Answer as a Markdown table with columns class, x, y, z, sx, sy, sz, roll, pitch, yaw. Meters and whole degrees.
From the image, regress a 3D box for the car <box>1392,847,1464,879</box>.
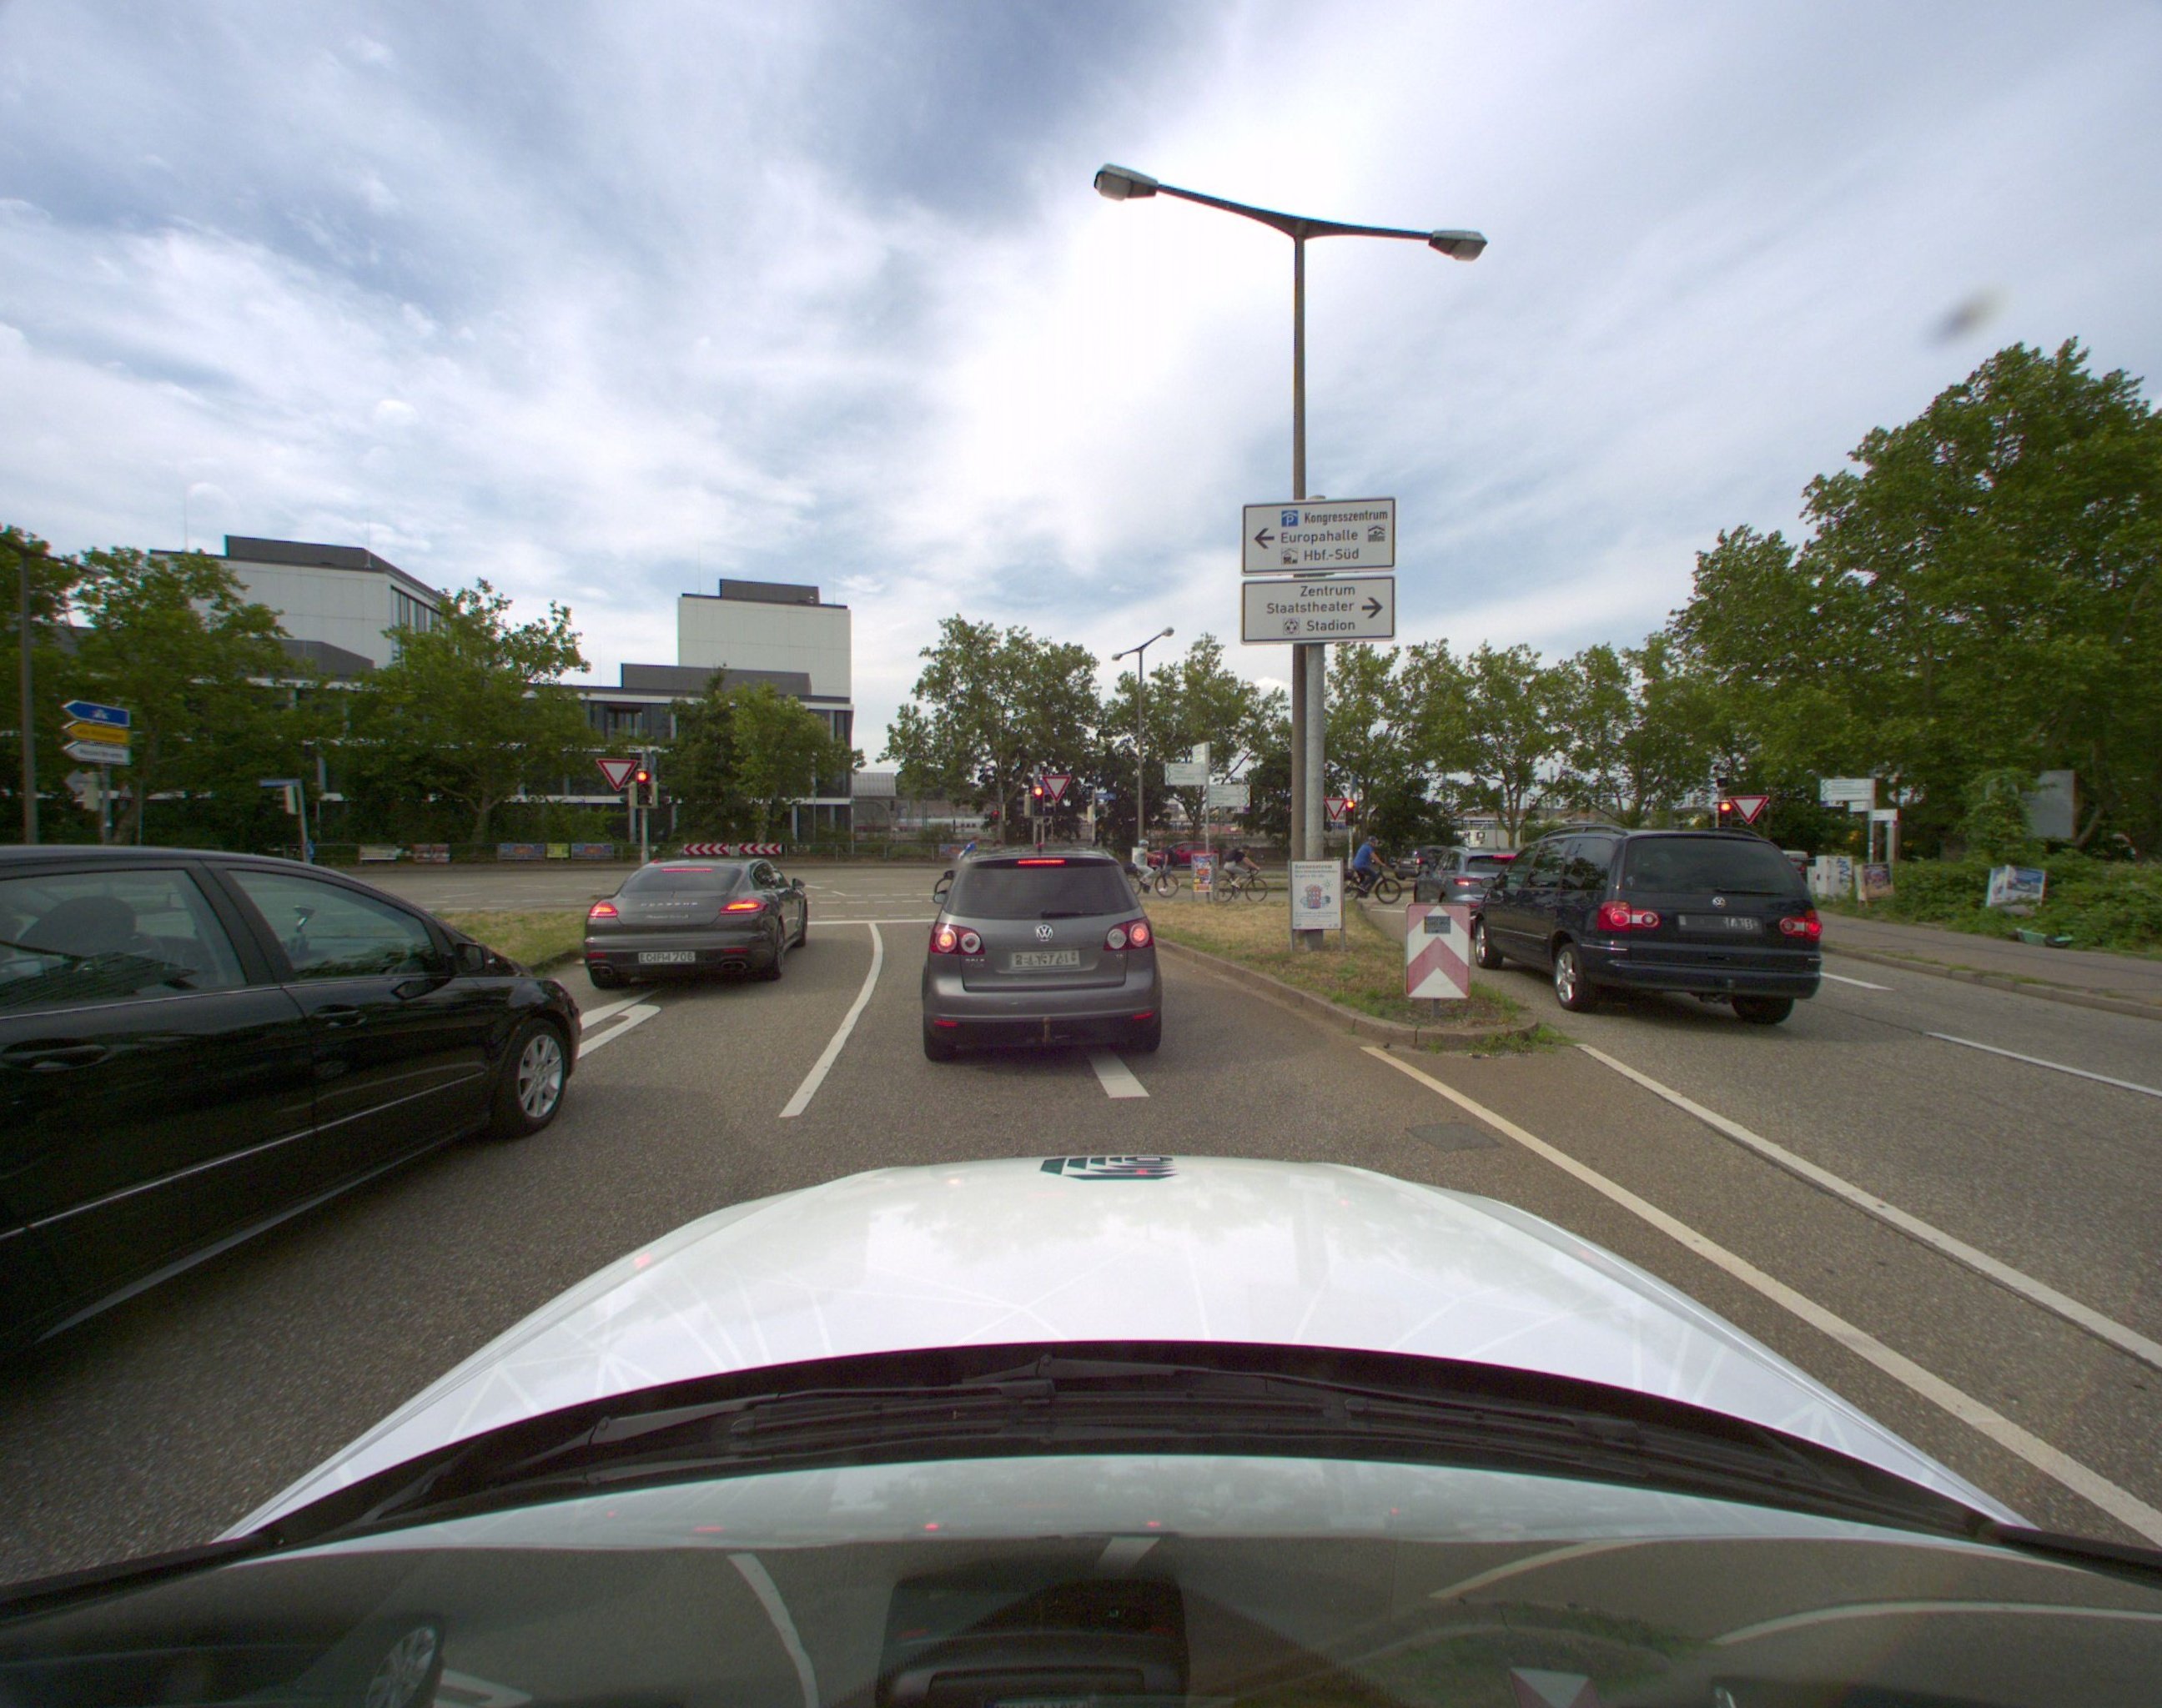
| class | x | y | z | sx | sy | sz | roll | pitch | yaw |
| --- | --- | --- | --- | --- | --- | --- | --- | --- | --- |
| car | 15.693 | 0.381 | 36.897 | 2.719 | 1.422 | 1.490 | -1 | 0 | -19 |

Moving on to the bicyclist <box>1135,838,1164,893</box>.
| class | x | y | z | sx | sy | sz | roll | pitch | yaw |
| --- | --- | --- | --- | --- | --- | --- | --- | --- | --- |
| bicyclist | 2.006 | 0.317 | 23.929 | 0.778 | 1.581 | 0.654 | 0 | 1 | -4 |

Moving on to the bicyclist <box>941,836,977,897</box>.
| class | x | y | z | sx | sy | sz | roll | pitch | yaw |
| --- | --- | --- | --- | --- | --- | --- | --- | --- | --- |
| bicyclist | -3.116 | 0.302 | 20.767 | 0.840 | 1.529 | 0.625 | -1 | 1 | -17 |

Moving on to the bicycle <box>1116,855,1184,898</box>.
| class | x | y | z | sx | sy | sz | roll | pitch | yaw |
| --- | --- | --- | --- | --- | --- | --- | --- | --- | --- |
| bicycle | 2.020 | 0.650 | 23.948 | 1.897 | 1.210 | 0.642 | 0 | 1 | -5 |

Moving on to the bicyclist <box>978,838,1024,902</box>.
| class | x | y | z | sx | sy | sz | roll | pitch | yaw |
| --- | --- | --- | --- | --- | --- | --- | --- | --- | --- |
| bicyclist | -1.952 | 0.374 | 19.808 | 1.018 | 1.539 | 0.625 | -1 | 1 | -15 |

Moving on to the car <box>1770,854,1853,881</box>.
| class | x | y | z | sx | sy | sz | roll | pitch | yaw |
| --- | --- | --- | --- | --- | --- | --- | --- | --- | --- |
| car | 41.308 | 0.753 | 46.071 | 4.067 | 1.450 | 1.693 | -1 | 0 | -17 |

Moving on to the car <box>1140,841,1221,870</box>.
| class | x | y | z | sx | sy | sz | roll | pitch | yaw |
| --- | --- | --- | --- | --- | --- | --- | --- | --- | --- |
| car | 5.288 | 0.070 | 43.246 | 3.963 | 1.448 | 1.692 | -1 | 0 | -19 |

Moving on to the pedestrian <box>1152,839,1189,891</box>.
| class | x | y | z | sx | sy | sz | roll | pitch | yaw |
| --- | --- | --- | --- | --- | --- | --- | --- | --- | --- |
| pedestrian | 3.011 | 0.344 | 27.318 | 1.038 | 1.710 | 0.858 | 1 | 1 | 19 |

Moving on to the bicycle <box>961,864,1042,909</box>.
| class | x | y | z | sx | sy | sz | roll | pitch | yaw |
| --- | --- | --- | --- | --- | --- | --- | --- | --- | --- |
| bicycle | -1.933 | 0.779 | 19.833 | 1.904 | 1.013 | 0.625 | -1 | 1 | -15 |

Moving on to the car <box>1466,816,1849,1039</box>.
| class | x | y | z | sx | sy | sz | roll | pitch | yaw |
| --- | --- | --- | --- | --- | --- | --- | --- | --- | --- |
| car | 5.579 | 0.574 | 8.607 | 1.739 | 1.724 | 4.151 | 2 | 0 | 11 |

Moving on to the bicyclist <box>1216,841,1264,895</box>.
| class | x | y | z | sx | sy | sz | roll | pitch | yaw |
| --- | --- | --- | --- | --- | --- | --- | --- | --- | --- |
| bicyclist | 4.342 | 0.371 | 22.300 | 1.115 | 1.436 | 0.645 | -1 | 1 | -15 |

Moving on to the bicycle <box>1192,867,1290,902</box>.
| class | x | y | z | sx | sy | sz | roll | pitch | yaw |
| --- | --- | --- | --- | --- | --- | --- | --- | --- | --- |
| bicycle | 4.388 | 0.817 | 22.307 | 2.587 | 0.890 | 0.701 | -1 | 1 | -15 |

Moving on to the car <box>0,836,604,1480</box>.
| class | x | y | z | sx | sy | sz | roll | pitch | yaw |
| --- | --- | --- | --- | --- | --- | --- | --- | --- | --- |
| car | -3.647 | 0.730 | 2.970 | 1.755 | 1.575 | 4.028 | 0 | 1 | -6 |

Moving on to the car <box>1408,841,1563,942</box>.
| class | x | y | z | sx | sy | sz | roll | pitch | yaw |
| --- | --- | --- | --- | --- | --- | --- | --- | --- | --- |
| car | 7.395 | 0.610 | 15.305 | 1.679 | 1.585 | 4.171 | 2 | 0 | 13 |

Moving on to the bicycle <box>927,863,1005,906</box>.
| class | x | y | z | sx | sy | sz | roll | pitch | yaw |
| --- | --- | --- | --- | --- | --- | --- | --- | --- | --- |
| bicycle | -2.944 | 0.760 | 20.811 | 1.906 | 1.013 | 0.625 | -1 | 1 | -17 |

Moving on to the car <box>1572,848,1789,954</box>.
| class | x | y | z | sx | sy | sz | roll | pitch | yaw |
| --- | --- | --- | --- | --- | --- | --- | --- | --- | --- |
| car | 10.882 | 0.746 | 15.181 | 1.738 | 1.643 | 4.152 | 2 | 0 | 13 |

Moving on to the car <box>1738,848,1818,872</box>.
| class | x | y | z | sx | sy | sz | roll | pitch | yaw |
| --- | --- | --- | --- | --- | --- | --- | --- | --- | --- |
| car | 44.543 | 0.369 | 52.039 | 4.336 | 1.448 | 1.752 | -1 | 0 | -15 |

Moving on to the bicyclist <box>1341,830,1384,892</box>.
| class | x | y | z | sx | sy | sz | roll | pitch | yaw |
| --- | --- | --- | --- | --- | --- | --- | --- | --- | --- |
| bicyclist | 7.807 | 0.186 | 22.621 | 0.879 | 1.656 | 0.811 | -1 | 0 | -3 |

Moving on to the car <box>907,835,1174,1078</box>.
| class | x | y | z | sx | sy | sz | roll | pitch | yaw |
| --- | --- | --- | --- | --- | --- | --- | --- | --- | --- |
| car | -0.455 | 0.648 | 7.369 | 1.739 | 1.546 | 4.073 | -1 | 0 | -6 |

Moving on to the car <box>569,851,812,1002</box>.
| class | x | y | z | sx | sy | sz | roll | pitch | yaw |
| --- | --- | --- | --- | --- | --- | --- | --- | --- | --- |
| car | -4.627 | 0.697 | 10.436 | 1.821 | 1.414 | 4.754 | 0 | 1 | -13 |

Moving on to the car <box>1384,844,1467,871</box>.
| class | x | y | z | sx | sy | sz | roll | pitch | yaw |
| --- | --- | --- | --- | --- | --- | --- | --- | --- | --- |
| car | 20.156 | 0.183 | 47.640 | 4.336 | 1.448 | 1.752 | -1 | 0 | -15 |

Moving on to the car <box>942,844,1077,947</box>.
| class | x | y | z | sx | sy | sz | roll | pitch | yaw |
| --- | --- | --- | --- | --- | --- | --- | --- | --- | --- |
| car | -1.389 | 0.599 | 14.114 | 1.743 | 1.482 | 4.063 | -1 | 0 | -14 |

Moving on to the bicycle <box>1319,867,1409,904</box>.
| class | x | y | z | sx | sy | sz | roll | pitch | yaw |
| --- | --- | --- | --- | --- | --- | --- | --- | --- | --- |
| bicycle | 7.844 | 0.864 | 22.622 | 2.223 | 0.952 | 0.811 | -1 | 0 | -3 |
